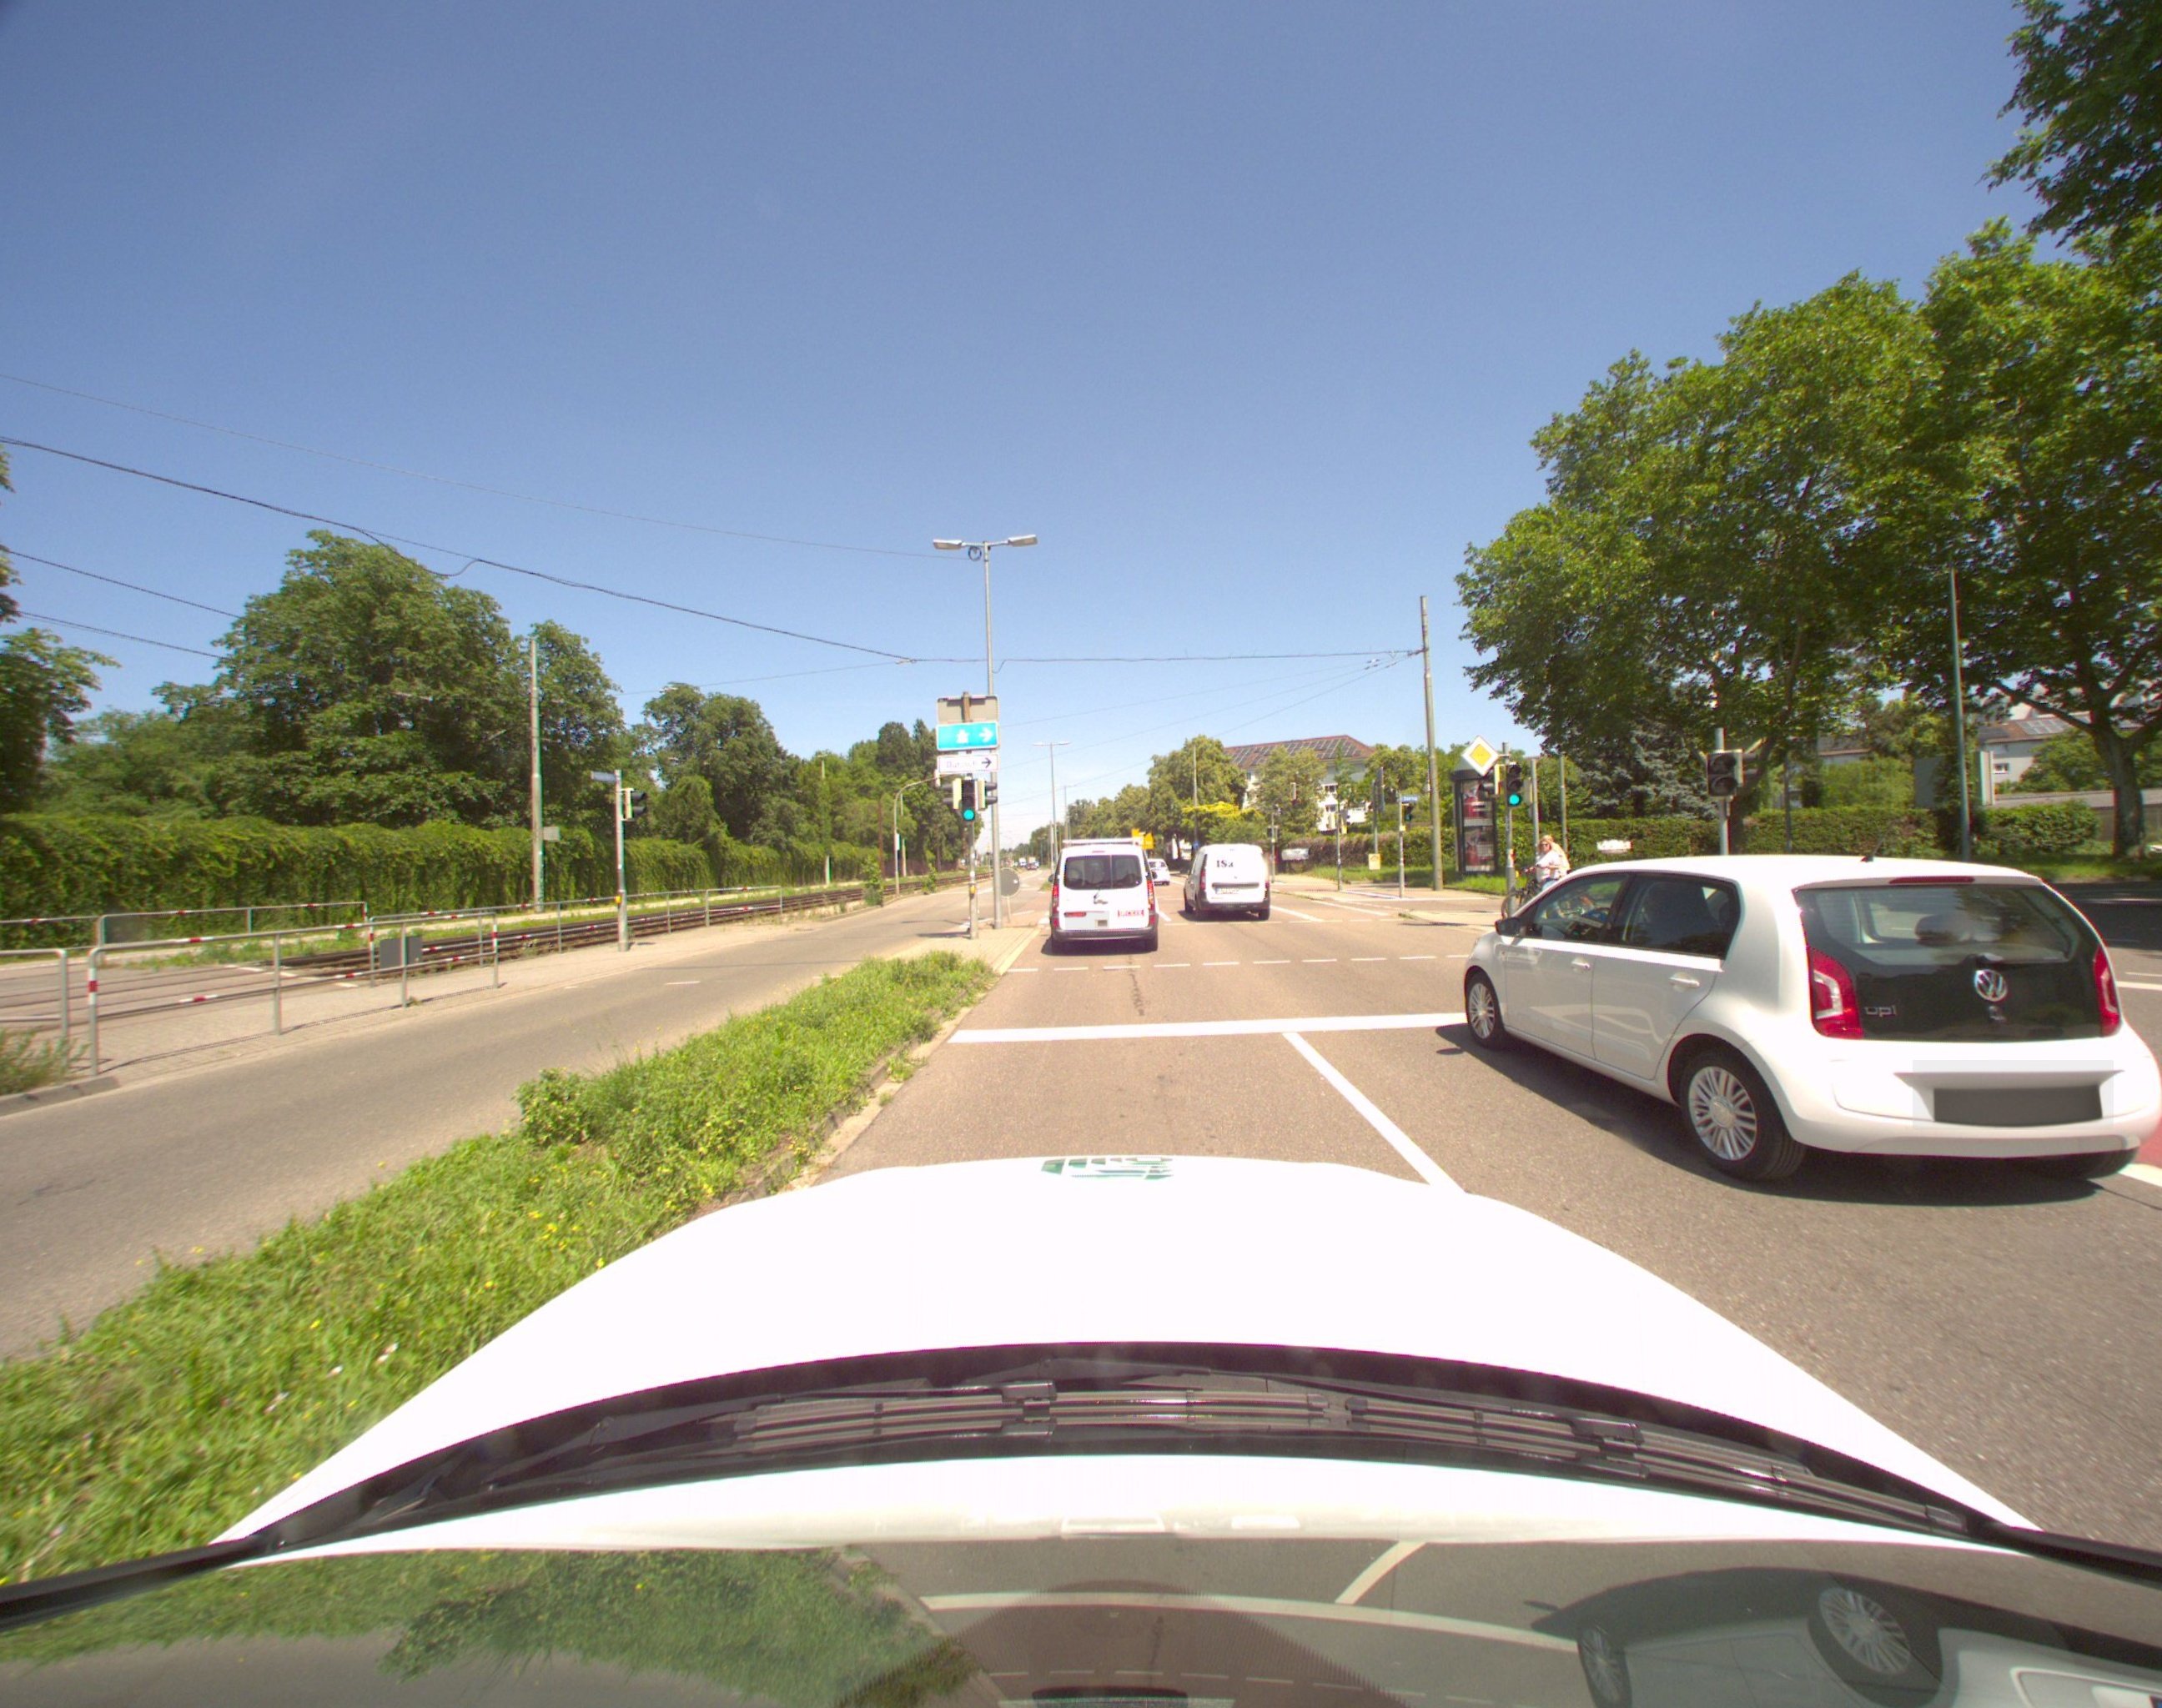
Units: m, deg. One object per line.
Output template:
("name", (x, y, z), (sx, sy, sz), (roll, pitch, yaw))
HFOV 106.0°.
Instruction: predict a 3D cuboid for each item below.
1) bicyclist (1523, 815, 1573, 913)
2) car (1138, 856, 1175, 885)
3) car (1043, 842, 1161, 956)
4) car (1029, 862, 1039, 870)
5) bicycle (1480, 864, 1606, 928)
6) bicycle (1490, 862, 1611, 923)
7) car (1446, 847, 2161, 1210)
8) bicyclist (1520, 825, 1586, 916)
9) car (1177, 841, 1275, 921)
("bicyclist", (8.790, 0.191, 15.349), (0.573, 1.788, 0.769), (0, -1, 9))
("car", (4.339, 0.913, 47.270), (1.828, 1.568, 4.001), (-1, 0, 1))
("car", (0.377, 0.709, 14.870), (1.815, 1.739, 4.397), (-1, 0, 1))
("car", (-9.634, 2.515, 166.696), (1.692, 1.512, 4.064), (-2, 0, -1))
("bicycle", (8.655, 0.779, 15.335), (1.856, 1.125, 0.897), (-1, -1, 8))
("bicycle", (9.591, 0.779, 16.692), (1.944, 1.159, 0.894), (-2, -1, -1))
("car", (3.769, 0.698, 4.991), (1.603, 1.447, 3.437), (-1, 0, 2))
("bicyclist", (9.645, 0.334, 16.677), (0.722, 1.788, 0.976), (-2, -1, -1))
("car", (3.519, 0.620, 20.440), (1.722, 1.788, 4.064), (-1, -1, 0))
